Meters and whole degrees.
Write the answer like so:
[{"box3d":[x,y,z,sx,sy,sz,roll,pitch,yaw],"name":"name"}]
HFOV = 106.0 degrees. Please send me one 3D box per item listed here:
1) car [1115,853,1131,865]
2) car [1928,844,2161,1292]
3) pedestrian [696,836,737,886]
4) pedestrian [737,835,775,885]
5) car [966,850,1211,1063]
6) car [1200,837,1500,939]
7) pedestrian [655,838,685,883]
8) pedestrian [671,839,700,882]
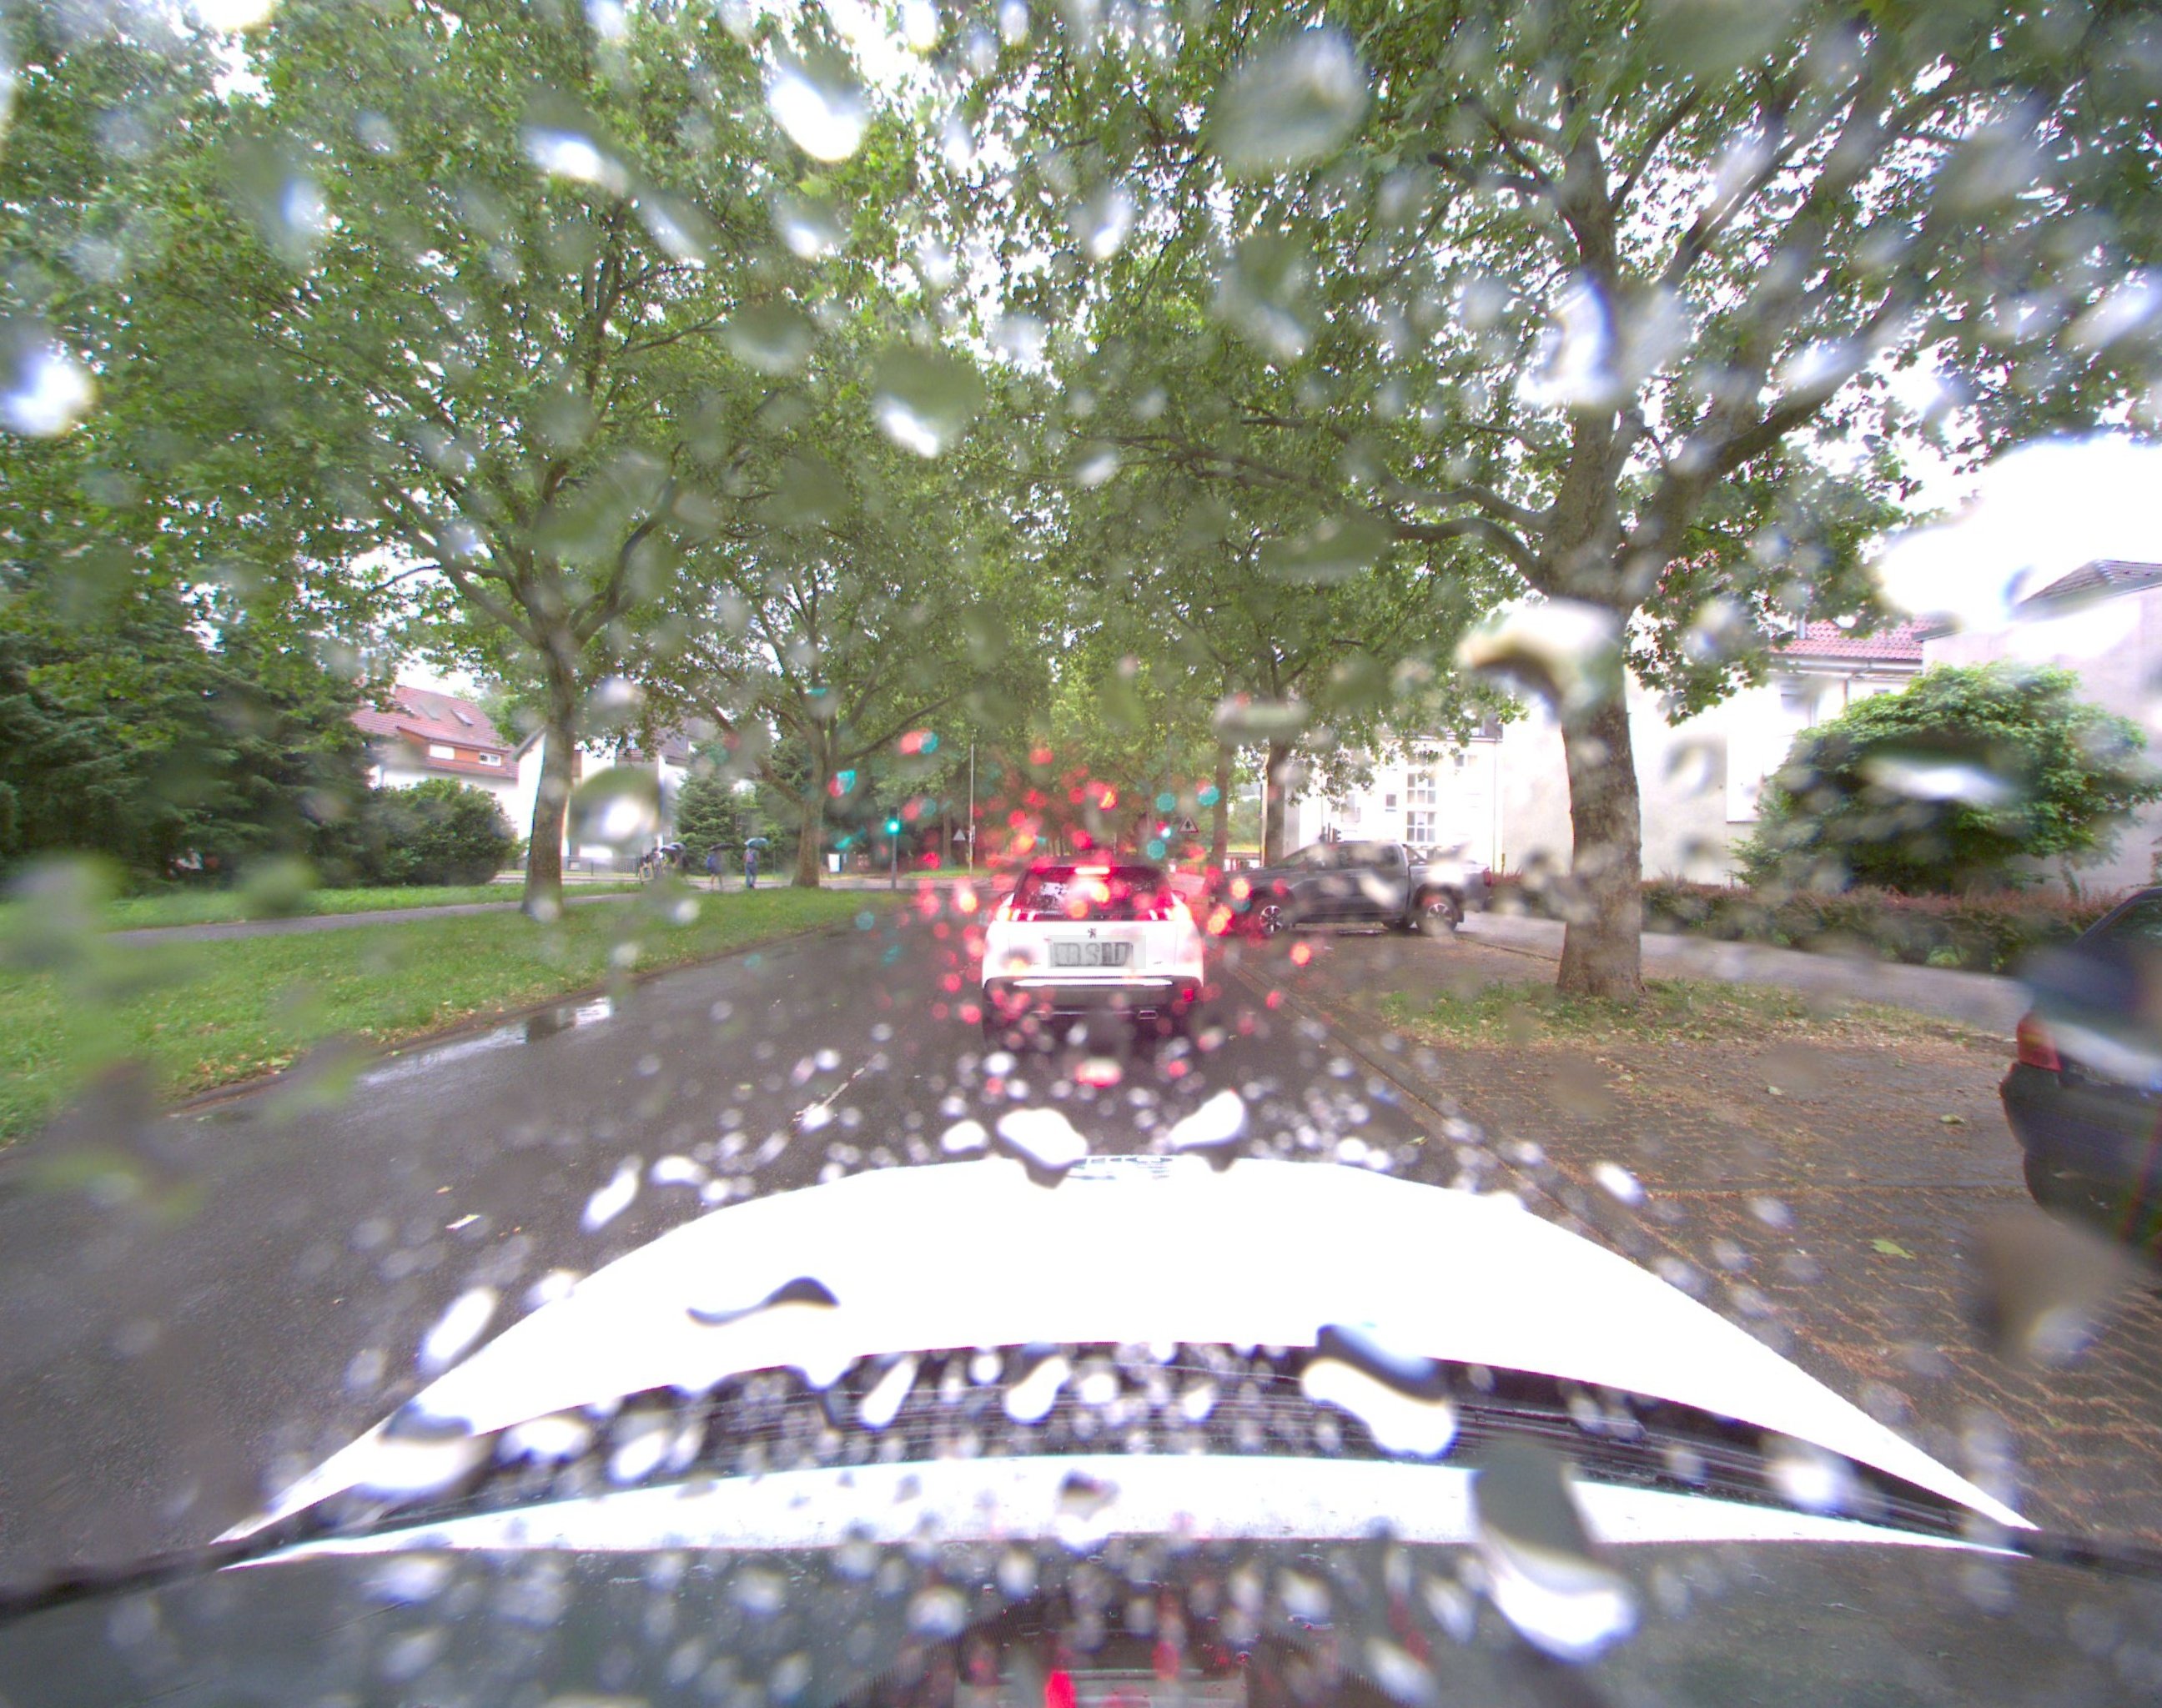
[{"box3d":[5.719,0.688,111.795,1.901,1.510,3.928,1,0,-2],"name":"car"},{"box3d":[5.201,0.704,2.604,3.344,1.464,1.618,0,0,0],"name":"car"},{"box3d":[-13.087,0.241,29.263,1.029,1.765,0.879,0,0,1],"name":"pedestrian"},{"box3d":[-11.674,0.217,29.282,1.029,1.765,0.838,0,0,1],"name":"pedestrian"},{"box3d":[0.105,0.733,7.917,1.774,1.536,4.059,0,0,1],"name":"car"},{"box3d":[5.153,0.612,15.967,5.330,1.807,1.842,0,0,-6],"name":"car"},{"box3d":[-16.333,0.266,32.371,0.818,1.744,0.639,1,0,-2],"name":"pedestrian"},{"box3d":[-16.210,0.274,33.368,0.856,1.744,0.639,1,0,-2],"name":"pedestrian"}]
